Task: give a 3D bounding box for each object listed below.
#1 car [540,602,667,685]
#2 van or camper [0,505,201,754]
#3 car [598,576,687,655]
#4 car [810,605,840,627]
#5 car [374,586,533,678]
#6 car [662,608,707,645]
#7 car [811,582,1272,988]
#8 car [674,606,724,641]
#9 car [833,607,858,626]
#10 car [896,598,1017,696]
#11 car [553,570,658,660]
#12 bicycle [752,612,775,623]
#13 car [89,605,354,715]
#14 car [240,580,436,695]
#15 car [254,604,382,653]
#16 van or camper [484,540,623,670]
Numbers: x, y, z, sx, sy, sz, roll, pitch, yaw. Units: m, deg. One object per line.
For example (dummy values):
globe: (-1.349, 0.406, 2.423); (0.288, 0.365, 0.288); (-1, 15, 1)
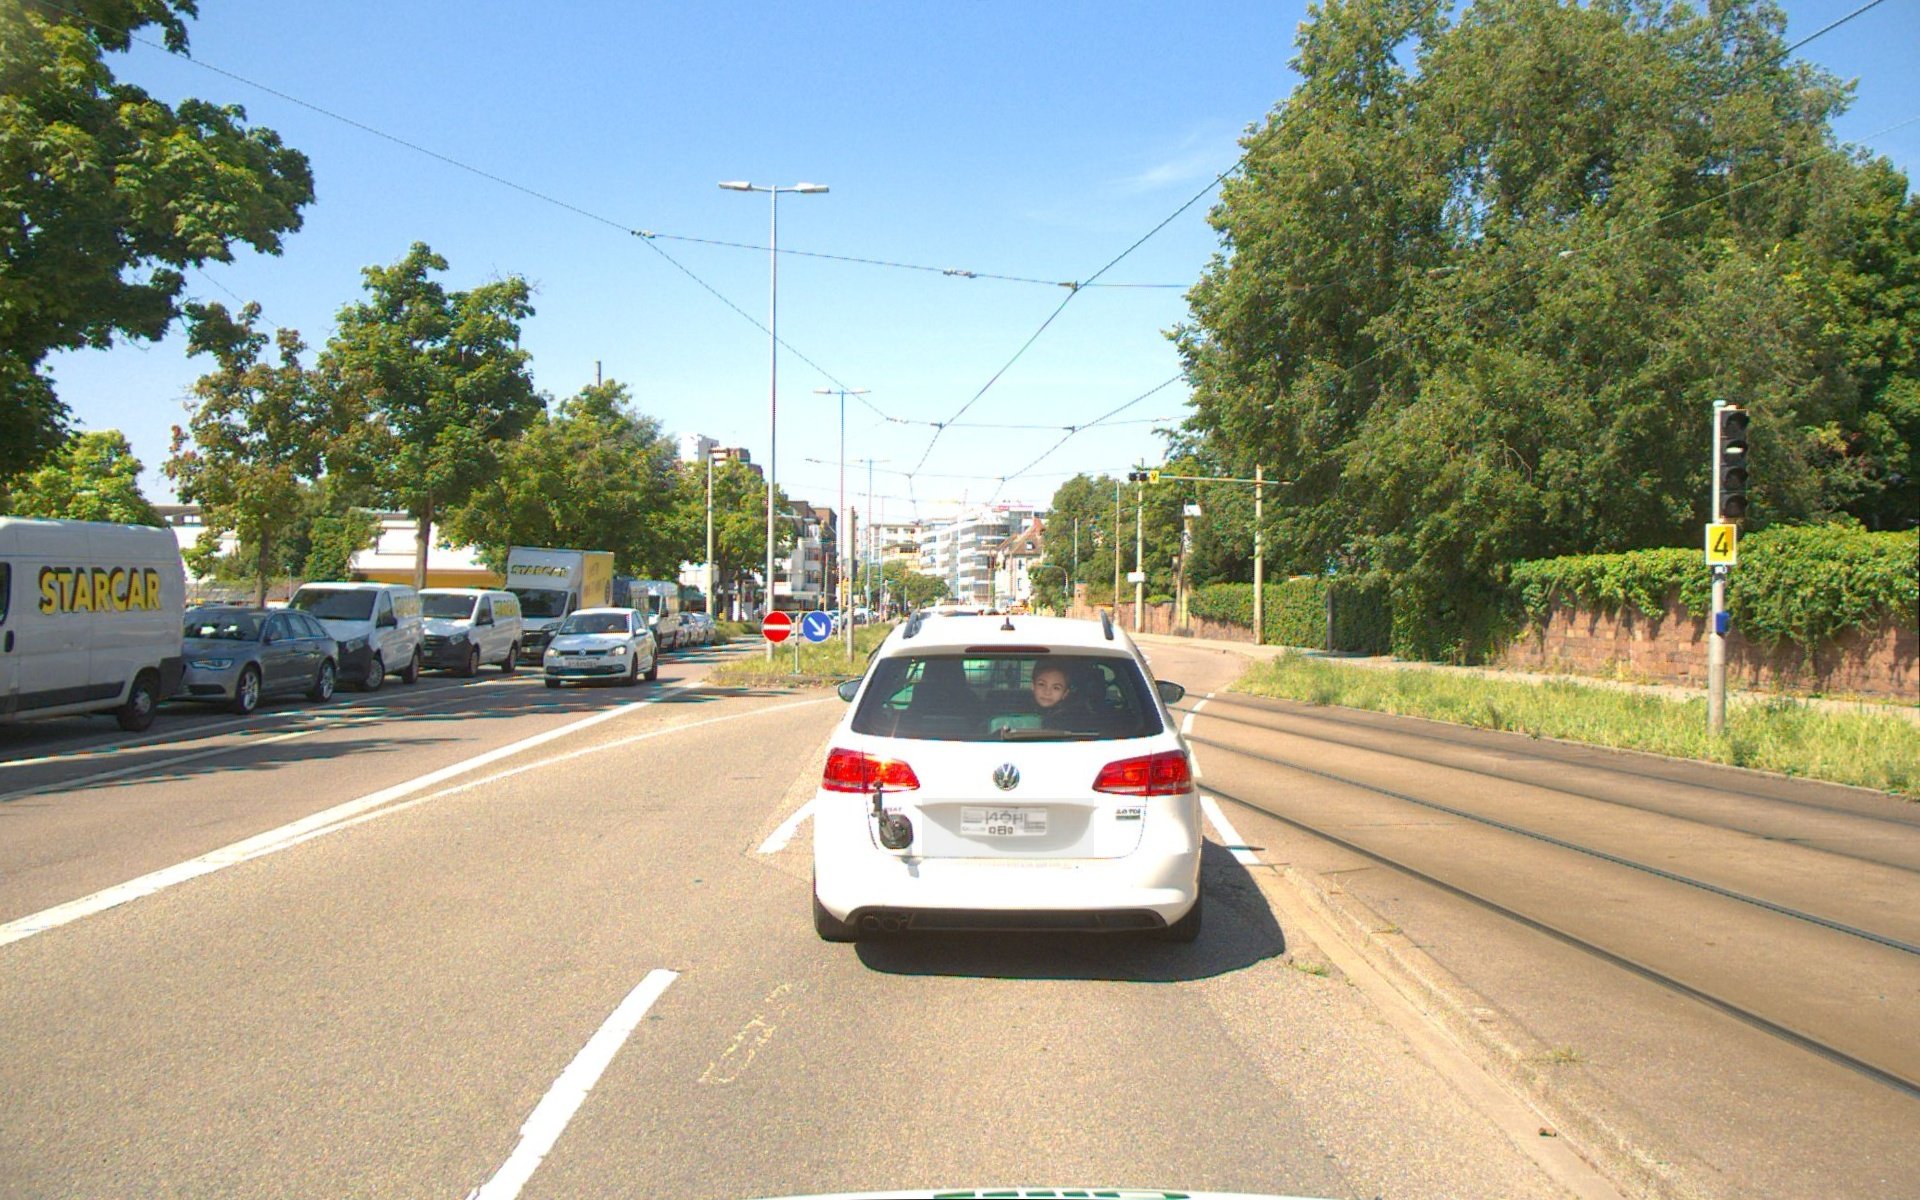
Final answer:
car: (-6.774, 0.790, 31.777); (1.693, 1.491, 3.998); (0, 0, -2)
van or camper: (-10.977, 0.314, 18.429); (2.211, 2.559, 6.146); (0, 0, 0)
car: (-11.641, 0.547, 60.989); (2.151, 2.676, 5.977); (2, 0, -1)
car: (-8.851, 1.043, 108.713); (1.755, 1.447, 4.334); (0, 0, -1)
car: (-11.493, 0.689, 37.929); (2.151, 1.975, 5.183); (0, 0, -1)
car: (-11.948, 1.122, 71.927); (1.265, 1.516, 4.349); (2, 0, -2)
car: (0.292, 0.726, 8.321); (1.742, 1.516, 3.846); (2, 0, -1)
car: (-12.141, 1.072, 77.156); (1.571, 1.516, 4.617); (2, 0, 0)
car: (-9.950, 1.414, 144.441); (2.002, 1.625, 4.658); (0, 0, -2)
car: (0.005, 0.811, 30.209); (1.693, 1.624, 4.014); (1, 0, 7)
car: (-11.532, 0.462, 54.275); (2.151, 2.715, 6.078); (2, 0, -1)
bicycle: (-16.737, 1.487, 140.847); (0.543, 0.937, 2.164); (-1, 0, 41)
car: (-10.852, 0.819, 24.749); (1.893, 1.480, 4.884); (0, 0, -2)
car: (-11.502, 0.648, 31.031); (2.153, 1.975, 5.178); (0, 0, -6)
car: (-22.948, 1.005, 59.220); (3.908, 1.724, 1.662); (0, -1, -4)
van or camper: (-11.242, 0.141, 46.355); (2.151, 3.298, 6.771); (2, 0, 0)
